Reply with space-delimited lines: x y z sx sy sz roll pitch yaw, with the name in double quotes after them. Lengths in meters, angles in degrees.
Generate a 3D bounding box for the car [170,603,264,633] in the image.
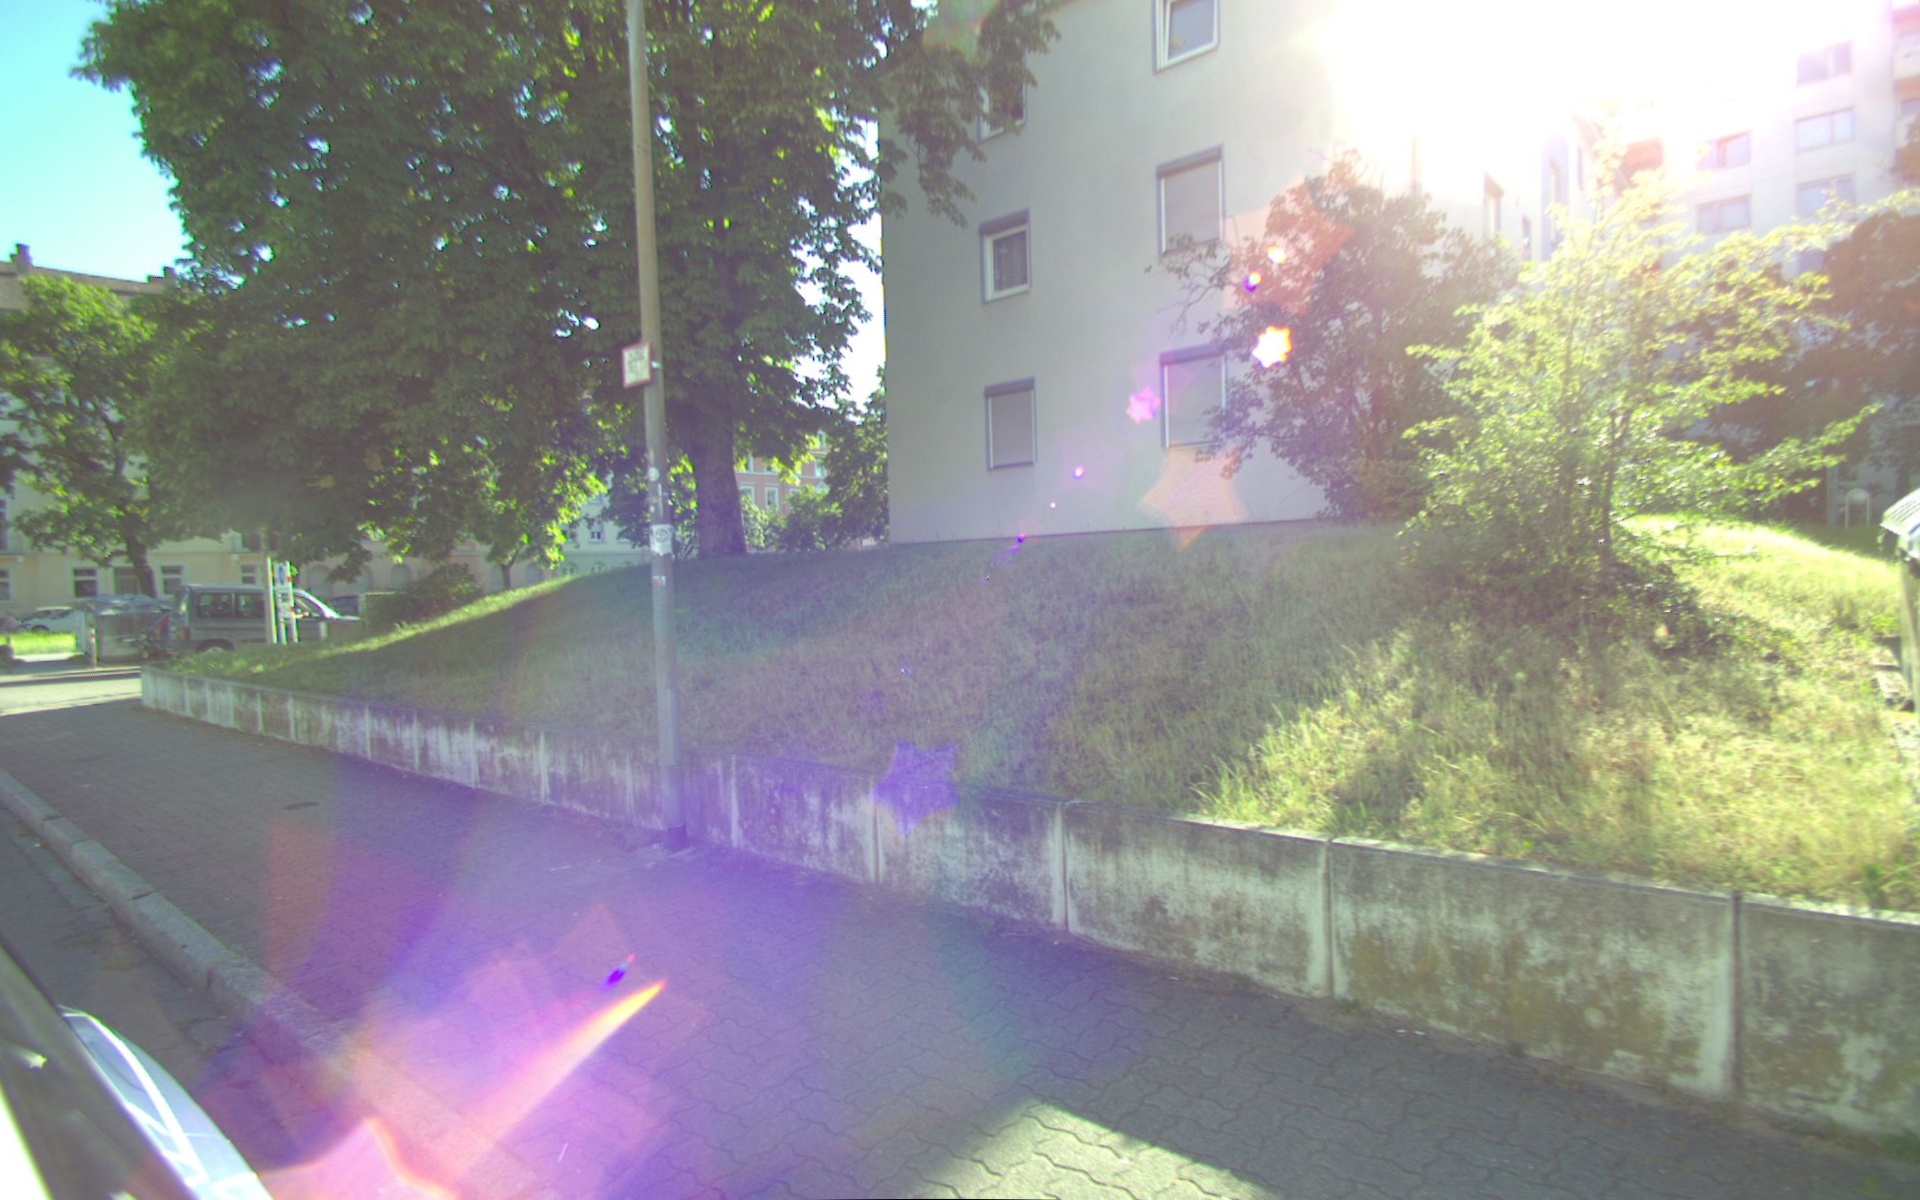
-39.109 0.928 53.306 1.624 1.456 3.737 -1 1 42 "car"

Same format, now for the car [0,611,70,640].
-47.740 1.291 51.733 1.544 1.329 3.152 -1 1 40 "car"

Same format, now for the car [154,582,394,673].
-15.146 0.520 22.515 1.728 1.753 4.088 0 2 40 "car"

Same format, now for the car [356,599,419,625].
-36.516 0.772 64.615 1.544 1.519 3.152 -1 1 40 "car"

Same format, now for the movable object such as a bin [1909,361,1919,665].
4.976 -0.401 4.467 1.072 1.463 1.347 -1 6 41 "movable object such as a bin"

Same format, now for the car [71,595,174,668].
-20.801 0.744 25.097 3.306 1.667 1.655 -1 1 45 "car"

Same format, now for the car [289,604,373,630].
-35.574 0.941 57.311 1.624 1.361 3.737 -1 1 42 "car"

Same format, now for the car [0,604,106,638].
-43.284 0.994 48.255 1.624 1.456 3.737 -1 1 42 "car"

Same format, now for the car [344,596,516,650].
-14.381 0.597 27.587 1.629 1.282 3.813 -1 1 41 "car"

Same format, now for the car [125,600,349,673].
-17.288 0.821 24.346 1.728 1.508 4.087 -1 1 41 "car"
